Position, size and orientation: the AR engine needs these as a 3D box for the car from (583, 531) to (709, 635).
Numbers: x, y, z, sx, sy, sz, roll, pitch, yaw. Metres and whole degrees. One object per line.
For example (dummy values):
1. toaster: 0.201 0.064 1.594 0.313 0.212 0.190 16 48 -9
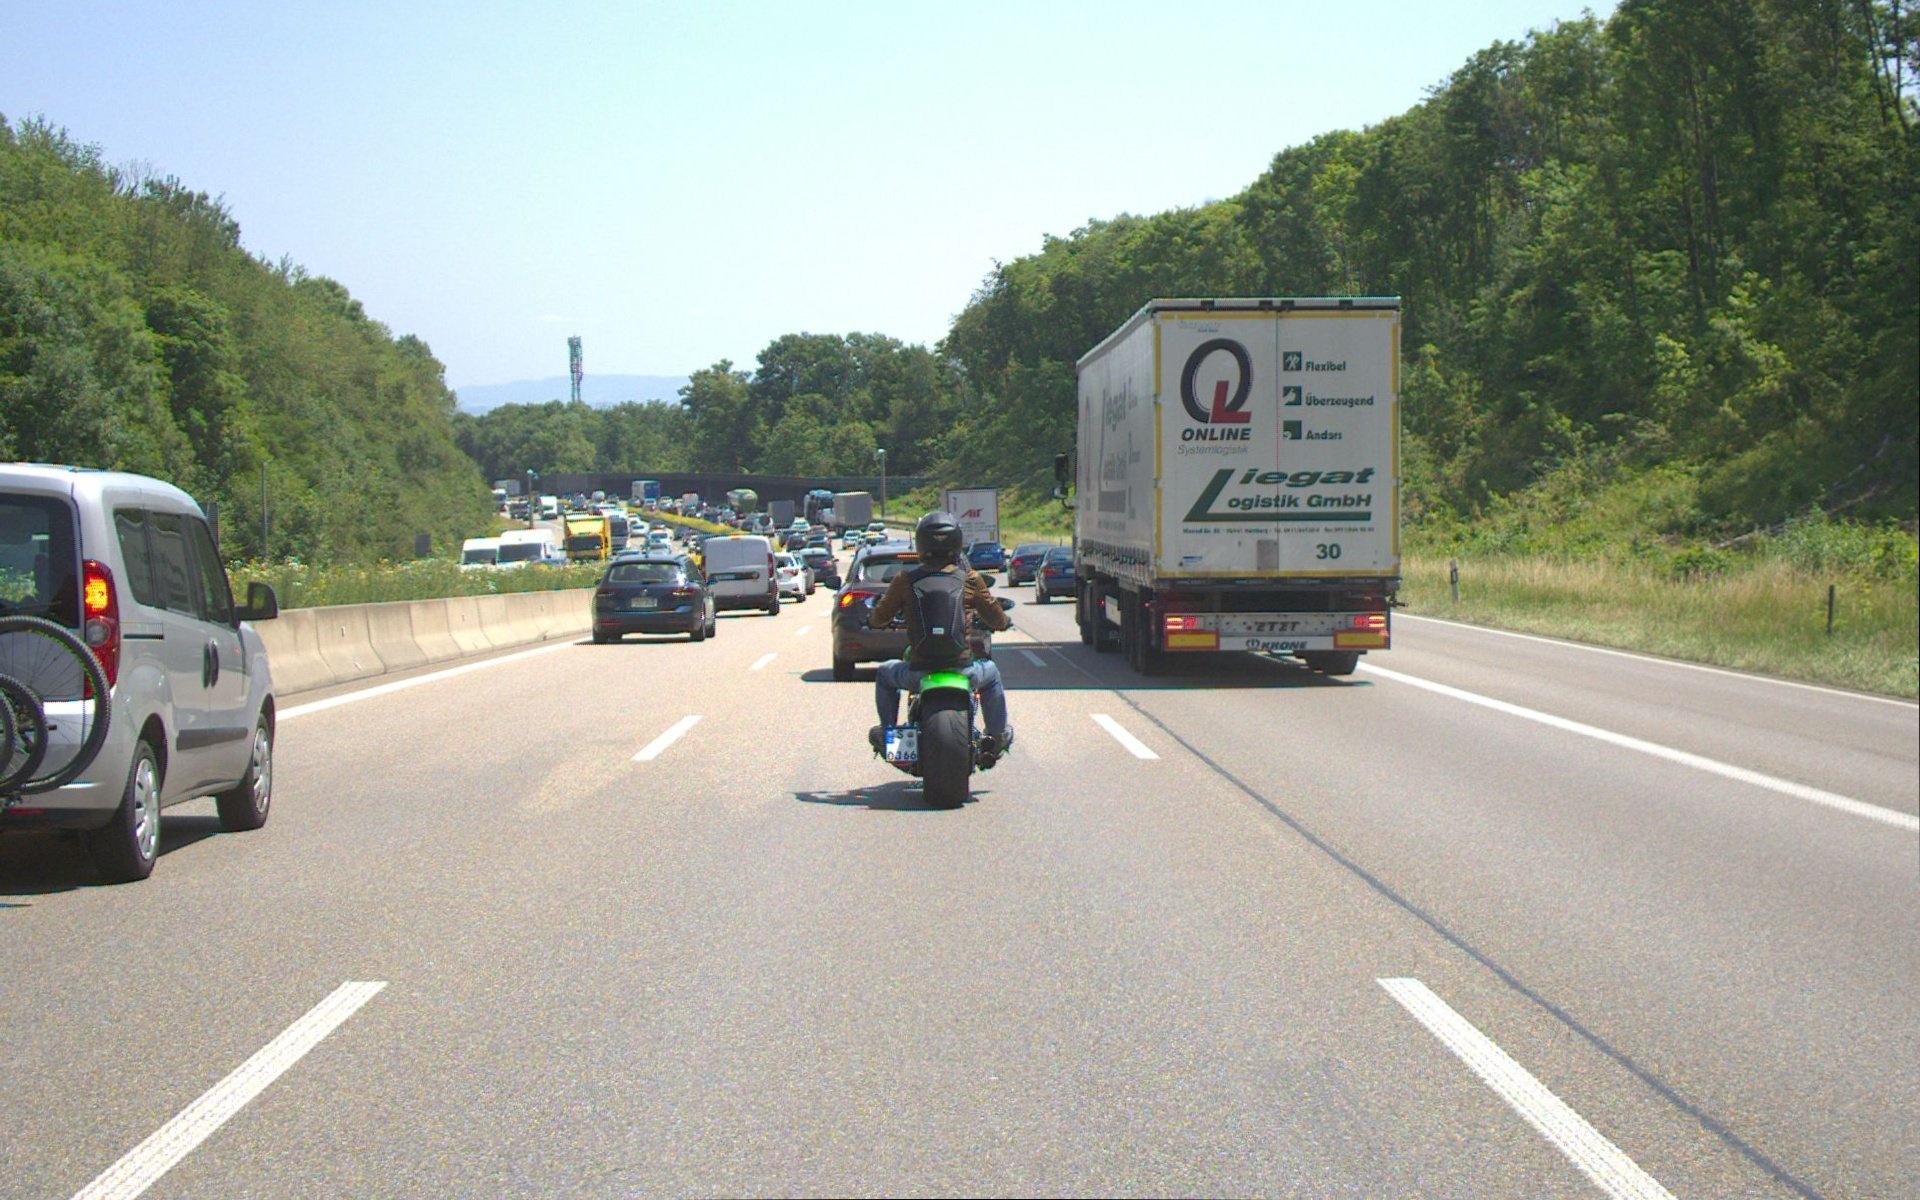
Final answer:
1. car: -5.123 -0.312 56.509 1.757 1.538 4.396 0 2 -1

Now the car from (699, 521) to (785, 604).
1. car: -5.102 -0.894 80.719 1.831 1.804 4.121 0 2 -1

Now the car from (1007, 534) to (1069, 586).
1. car: 2.530 -1.318 112.319 1.831 1.553 4.121 0 2 -1

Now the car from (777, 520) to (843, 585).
1. car: -4.405 -1.417 101.181 1.831 1.804 4.121 0 2 -1

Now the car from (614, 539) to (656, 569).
1. car: -18.893 -2.675 200.028 1.911 1.683 4.832 1 0 0

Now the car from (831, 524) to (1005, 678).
1. car: -0.500 -0.037 39.008 1.845 1.552 4.440 0 2 -1

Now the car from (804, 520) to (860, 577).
1. car: -4.348 -1.766 117.315 1.831 1.804 4.121 0 2 -1

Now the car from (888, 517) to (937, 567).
1. car: -1.846 -2.250 132.388 1.831 1.804 4.121 0 2 -1

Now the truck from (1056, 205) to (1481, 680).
1. truck: 3.353 -1.903 43.505 3.383 4.701 17.711 1 2 -1

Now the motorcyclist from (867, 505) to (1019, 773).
1. motorcyclist: -0.097 0.207 19.792 0.856 1.509 0.914 0 1 0

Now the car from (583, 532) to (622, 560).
1. car: -22.716 -3.444 218.712 1.911 1.683 4.832 1 0 0

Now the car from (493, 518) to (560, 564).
1. car: -16.629 -2.246 132.127 1.911 1.683 4.832 1 0 0

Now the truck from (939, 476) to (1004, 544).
1. truck: 0.565 -4.678 176.359 3.067 3.335 9.653 1 2 -1

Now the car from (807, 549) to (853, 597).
1. car: -5.290 -1.105 140.212 1.831 1.804 4.121 0 2 -1

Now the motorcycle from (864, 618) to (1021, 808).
1. motorcycle: -0.096 0.626 19.966 0.862 0.978 2.131 0 2 0

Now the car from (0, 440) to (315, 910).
1. car: -4.447 0.244 16.189 1.898 1.841 5.483 0 1 -1

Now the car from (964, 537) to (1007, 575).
1. car: 1.136 -1.996 154.625 1.831 1.553 4.121 0 2 -1

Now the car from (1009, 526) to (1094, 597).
1. car: 2.168 -0.945 82.422 1.831 1.553 4.121 0 2 -1

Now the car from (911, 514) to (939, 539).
1. car: -2.384 -4.930 230.625 1.831 1.553 4.121 0 2 -1
